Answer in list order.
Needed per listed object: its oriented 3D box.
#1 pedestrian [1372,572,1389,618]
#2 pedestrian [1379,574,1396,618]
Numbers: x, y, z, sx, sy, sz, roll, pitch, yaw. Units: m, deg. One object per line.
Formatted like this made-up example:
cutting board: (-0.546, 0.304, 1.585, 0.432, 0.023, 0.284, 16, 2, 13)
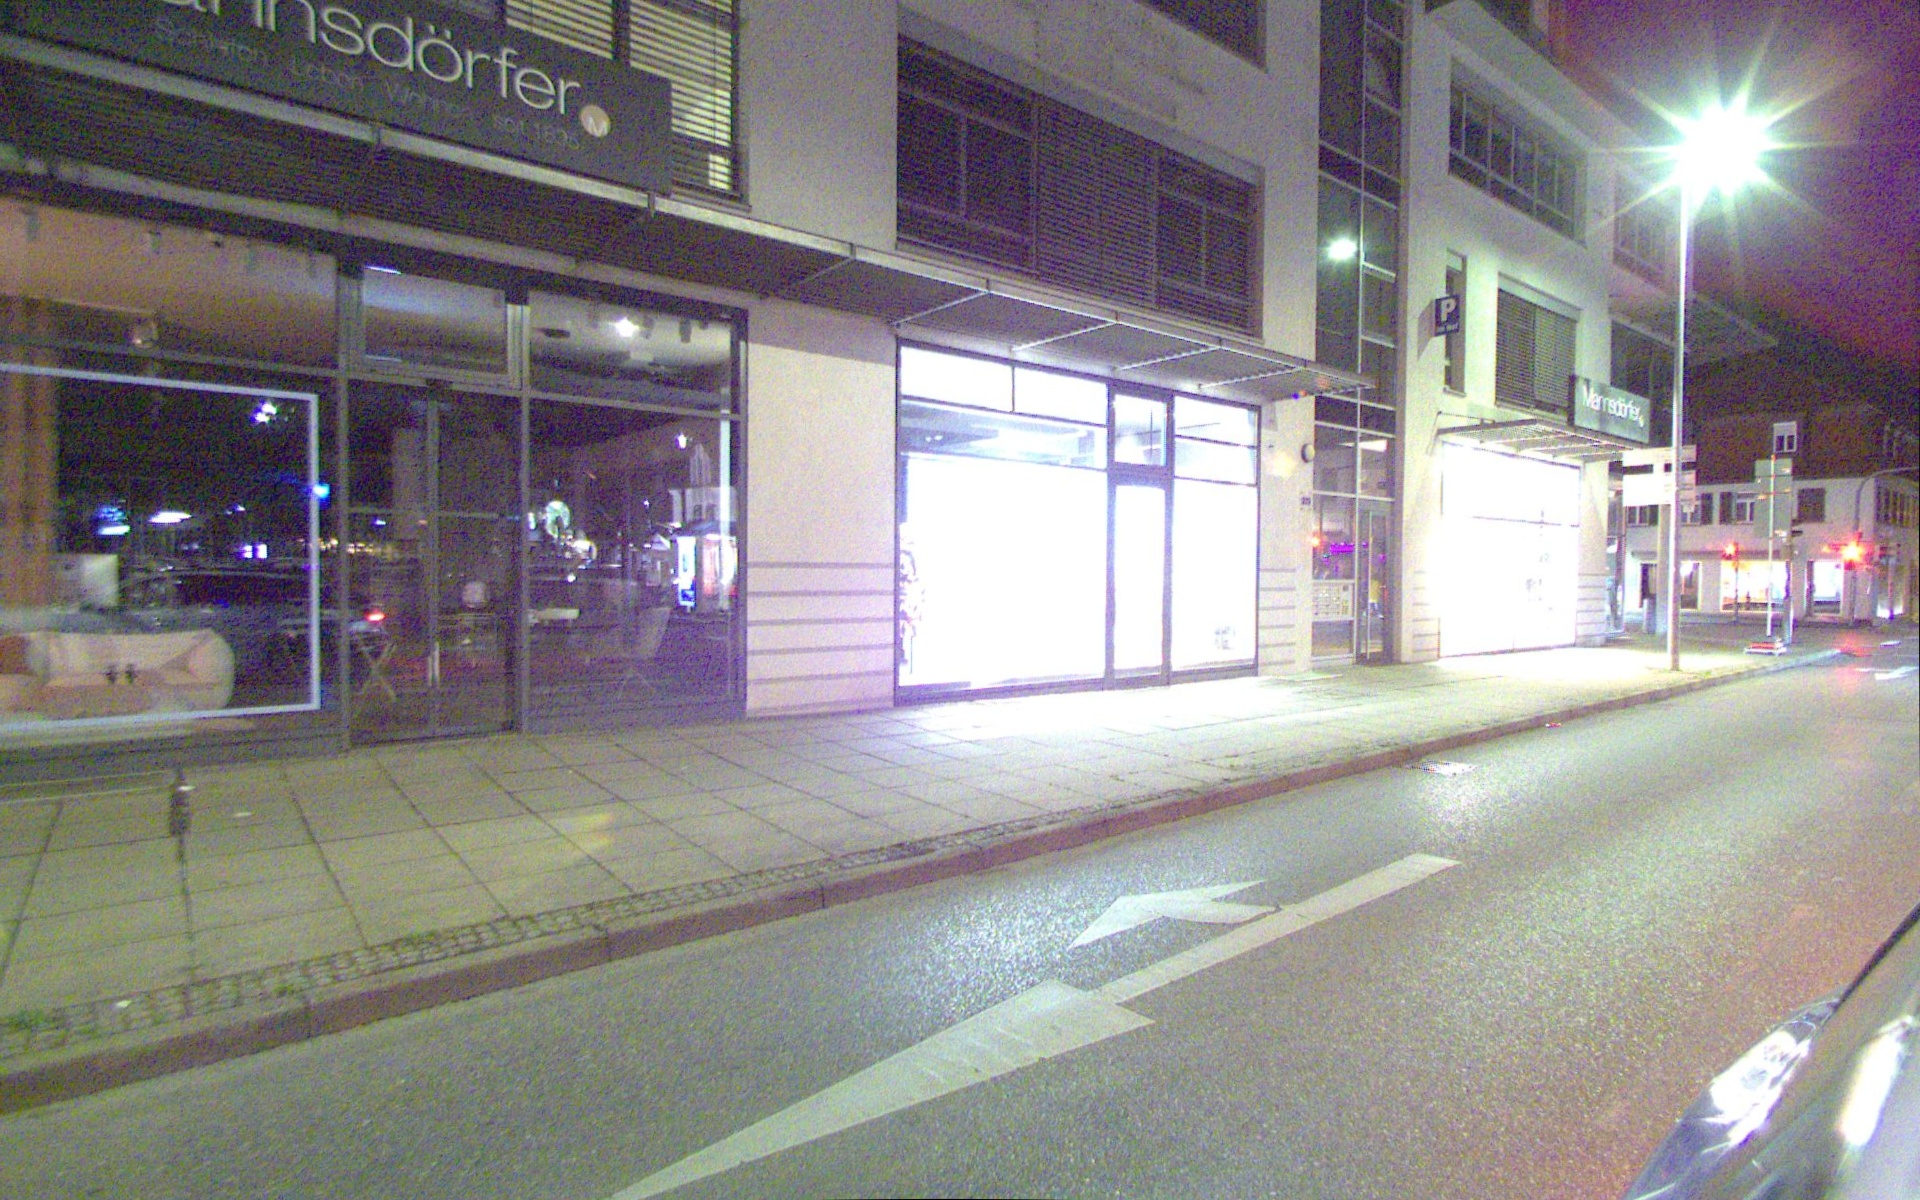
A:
pedestrian: (15.481, -0.184, 37.250, 0.478, 1.708, 0.407, 0, 0, -36)
pedestrian: (17.395, -0.163, 41.157, 0.521, 1.738, 0.560, 0, 0, 33)
